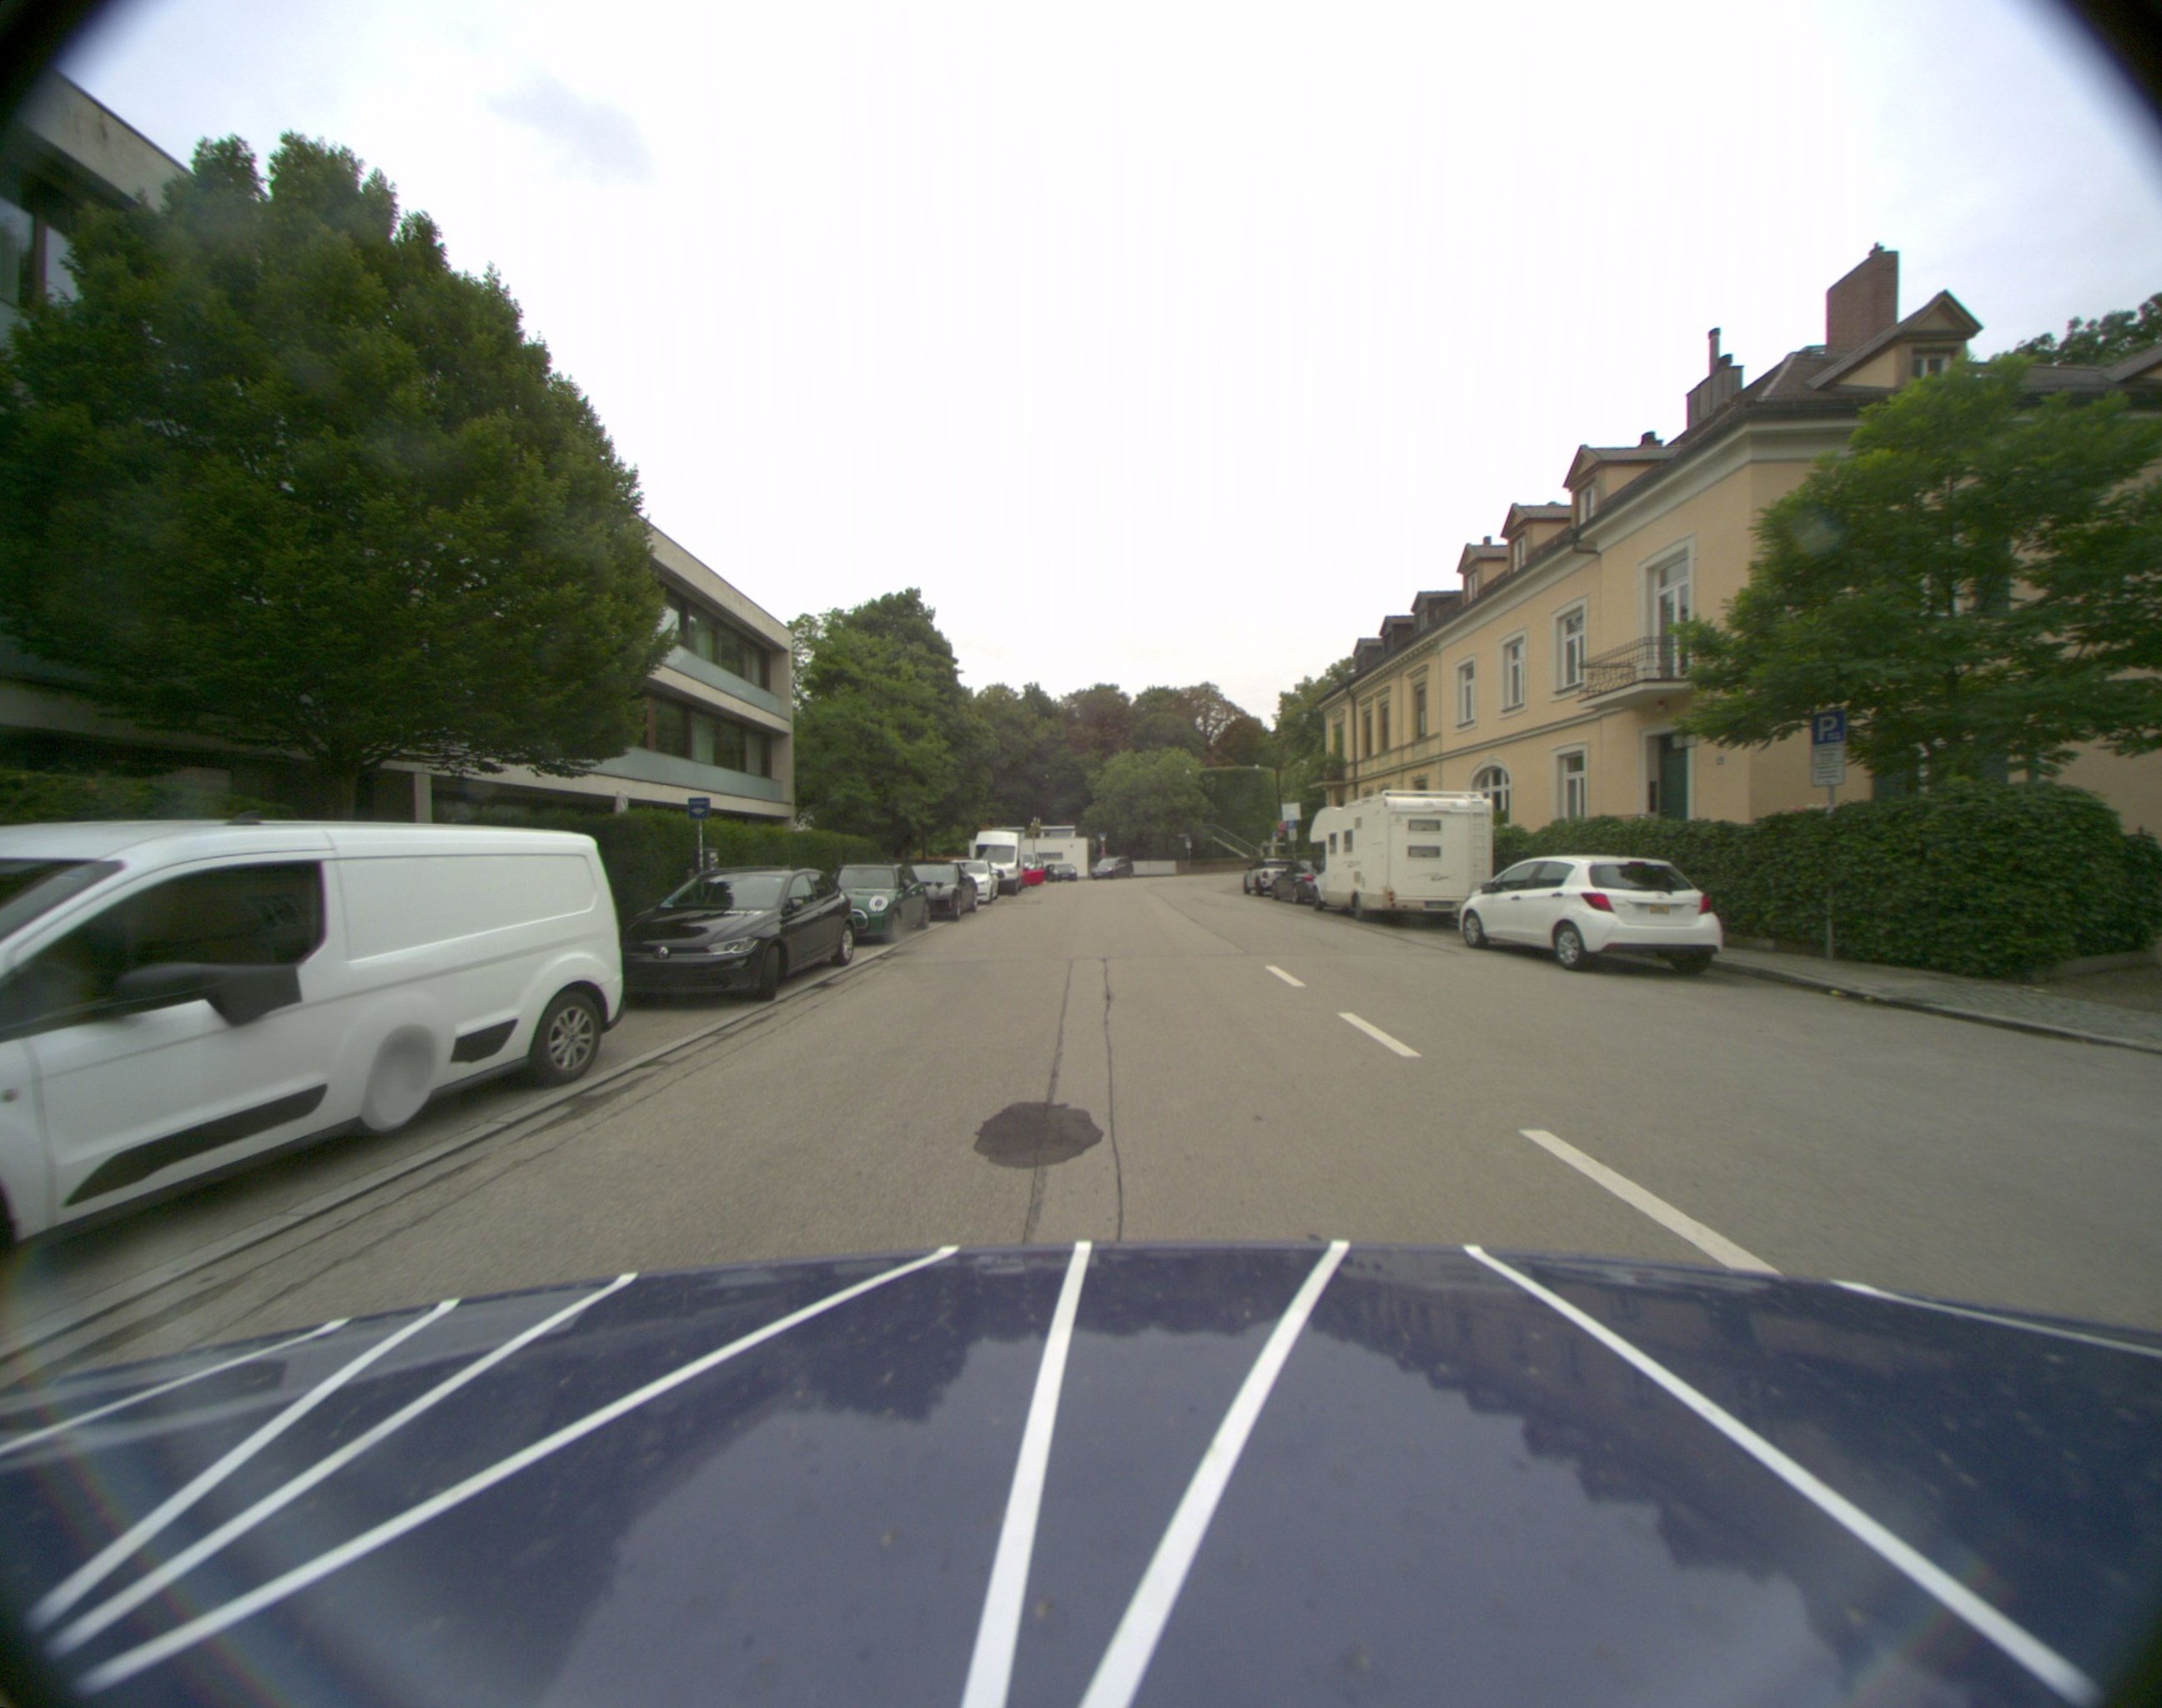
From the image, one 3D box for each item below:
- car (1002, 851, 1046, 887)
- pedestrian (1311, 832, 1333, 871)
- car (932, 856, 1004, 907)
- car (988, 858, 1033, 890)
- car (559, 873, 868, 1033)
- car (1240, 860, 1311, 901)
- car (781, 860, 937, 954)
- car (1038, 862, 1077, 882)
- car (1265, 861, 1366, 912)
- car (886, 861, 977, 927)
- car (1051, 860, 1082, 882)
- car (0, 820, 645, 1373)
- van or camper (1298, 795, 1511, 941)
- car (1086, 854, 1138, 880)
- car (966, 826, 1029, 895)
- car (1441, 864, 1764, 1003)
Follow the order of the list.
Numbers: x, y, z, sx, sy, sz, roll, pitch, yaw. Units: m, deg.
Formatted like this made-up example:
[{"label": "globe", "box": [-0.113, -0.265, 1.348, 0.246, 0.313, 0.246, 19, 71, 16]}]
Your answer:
[{"label": "car", "box": [-3.273, 0.852, 44.656, 1.939, 1.893, 5.073, 2, 0, 2]}, {"label": "pedestrian", "box": [9.929, -0.097, 31.342, 0.655, 1.594, 0.740, -2, 0, 1]}, {"label": "car", "box": [-3.828, 0.897, 26.493, 1.876, 1.560, 5.001, 2, -1, -2]}, {"label": "car", "box": [-3.573, 0.993, 39.426, 1.875, 1.498, 4.838, 2, -1, 0]}, {"label": "car", "box": [-4.168, 1.012, 9.499, 1.752, 1.455, 4.242, 0, 0, 1]}, {"label": "car", "box": [8.052, 1.046, 31.902, 1.940, 1.526, 4.531, 2, 0, 2]}, {"label": "car", "box": [-4.125, 0.903, 14.839, 1.731, 1.520, 4.205, 1, 0, 1]}, {"label": "car", "box": [-1.880, 1.437, 60.137, 1.899, 1.437, 4.010, -3, -2, -19]}, {"label": "car", "box": [7.886, 1.038, 26.032, 1.940, 1.499, 4.822, 2, 0, 0]}, {"label": "car", "box": [-3.843, 0.956, 20.284, 1.284, 1.497, 5.208, 2, -1, 1]}, {"label": "car", "box": [-1.080, 1.255, 55.708, 1.897, 1.438, 4.268, -3, -1, -5]}, {"label": "car", "box": [-4.509, 0.841, 3.624, 1.827, 1.849, 4.899, -2, 0, 2]}, {"label": "van or camper", "box": [7.590, 0.285, 19.016, 2.461, 2.923, 7.213, 1, 0, 2]}, {"label": "car", "box": [2.300, 0.975, 54.660, 1.995, 1.682, 4.344, -5, -4, 27]}, {"label": "car", "box": [-3.522, 0.303, 33.194, 2.085, 2.670, 6.088, 1, -1, 0]}, {"label": "car", "box": [7.121, 0.962, 11.029, 1.783, 1.526, 4.228, 2, 0, 1]}]
